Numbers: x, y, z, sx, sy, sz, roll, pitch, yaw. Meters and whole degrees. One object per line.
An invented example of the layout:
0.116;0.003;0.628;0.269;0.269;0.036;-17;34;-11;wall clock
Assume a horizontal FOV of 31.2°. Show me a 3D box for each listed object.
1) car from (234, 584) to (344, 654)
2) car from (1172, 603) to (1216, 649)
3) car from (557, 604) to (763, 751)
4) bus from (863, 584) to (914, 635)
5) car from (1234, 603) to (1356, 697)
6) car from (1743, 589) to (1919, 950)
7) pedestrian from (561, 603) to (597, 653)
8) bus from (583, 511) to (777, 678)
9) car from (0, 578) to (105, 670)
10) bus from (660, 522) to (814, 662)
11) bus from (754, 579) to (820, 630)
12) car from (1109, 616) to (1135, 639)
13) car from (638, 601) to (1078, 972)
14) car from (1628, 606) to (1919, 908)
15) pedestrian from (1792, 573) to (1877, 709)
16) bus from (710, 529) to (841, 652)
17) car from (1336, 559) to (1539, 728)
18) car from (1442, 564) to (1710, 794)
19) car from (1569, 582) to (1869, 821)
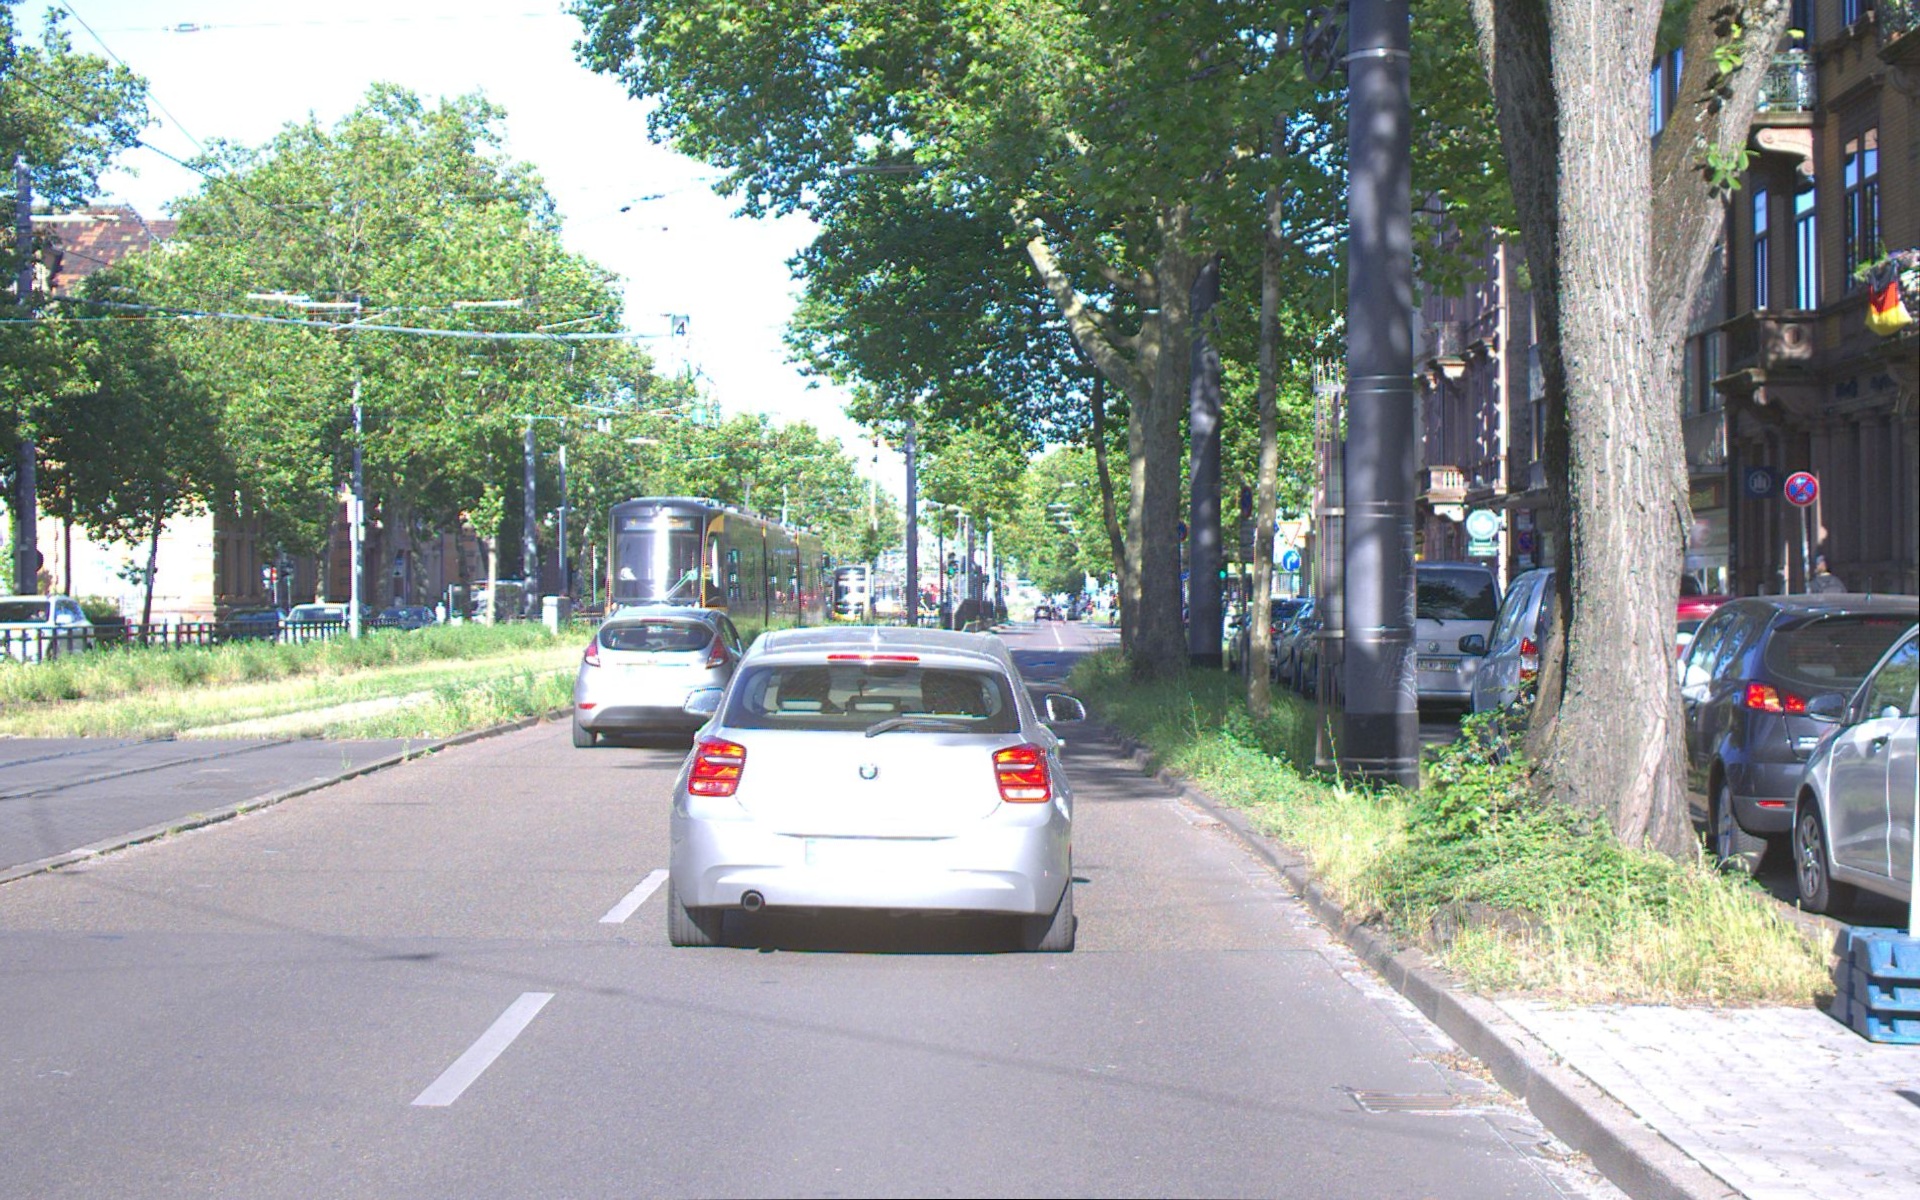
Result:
-16.016;0.437;82.212;1.845;1.525;3.875;2;0;0;car
10.493;1.140;154.267;1.755;1.958;4.737;1;0;1;car
-3.081;0.767;35.948;1.647;1.358;3.759;2;0;2;car
-5.239;0.664;256.387;2.750;3.613;18.846;1;0;2;bus
5.748;0.840;59.490;1.806;1.485;4.919;2;0;3;car
4.784;0.730;15.358;1.626;1.472;3.698;2;0;-1;car
-12.705;0.941;114.595;1.176;1.638;0.893;1;-1;-5;pedestrian
-6.171;-0.137;77.999;2.869;3.432;13.216;1;0;2;bus
-17.876;0.426;65.597;1.885;1.614;4.598;2;0;1;car
-5.746;-0.223;90.669;2.869;3.432;12.214;1;0;2;bus
-12.929;0.284;259.363;2.869;3.616;24.601;1;0;2;bus
11.319;1.927;240.817;1.700;1.529;3.716;2;0;2;car
-0.391;0.770;16.209;1.762;1.427;4.000;2;0;1;car
4.869;0.819;19.533;1.562;1.480;3.786;2;0;3;car
11.950;0.553;46.996;1.000;1.834;0.715;1;0;4;pedestrian
-5.408;-0.307;102.655;2.869;3.432;11.610;1;0;2;bus
5.584;0.470;40.719;1.865;1.809;4.799;2;0;3;car
4.928;0.581;27.964;1.626;1.662;4.141;2;0;4;car
5.194;0.643;23.878;1.512;1.475;3.491;2;0;5;car
